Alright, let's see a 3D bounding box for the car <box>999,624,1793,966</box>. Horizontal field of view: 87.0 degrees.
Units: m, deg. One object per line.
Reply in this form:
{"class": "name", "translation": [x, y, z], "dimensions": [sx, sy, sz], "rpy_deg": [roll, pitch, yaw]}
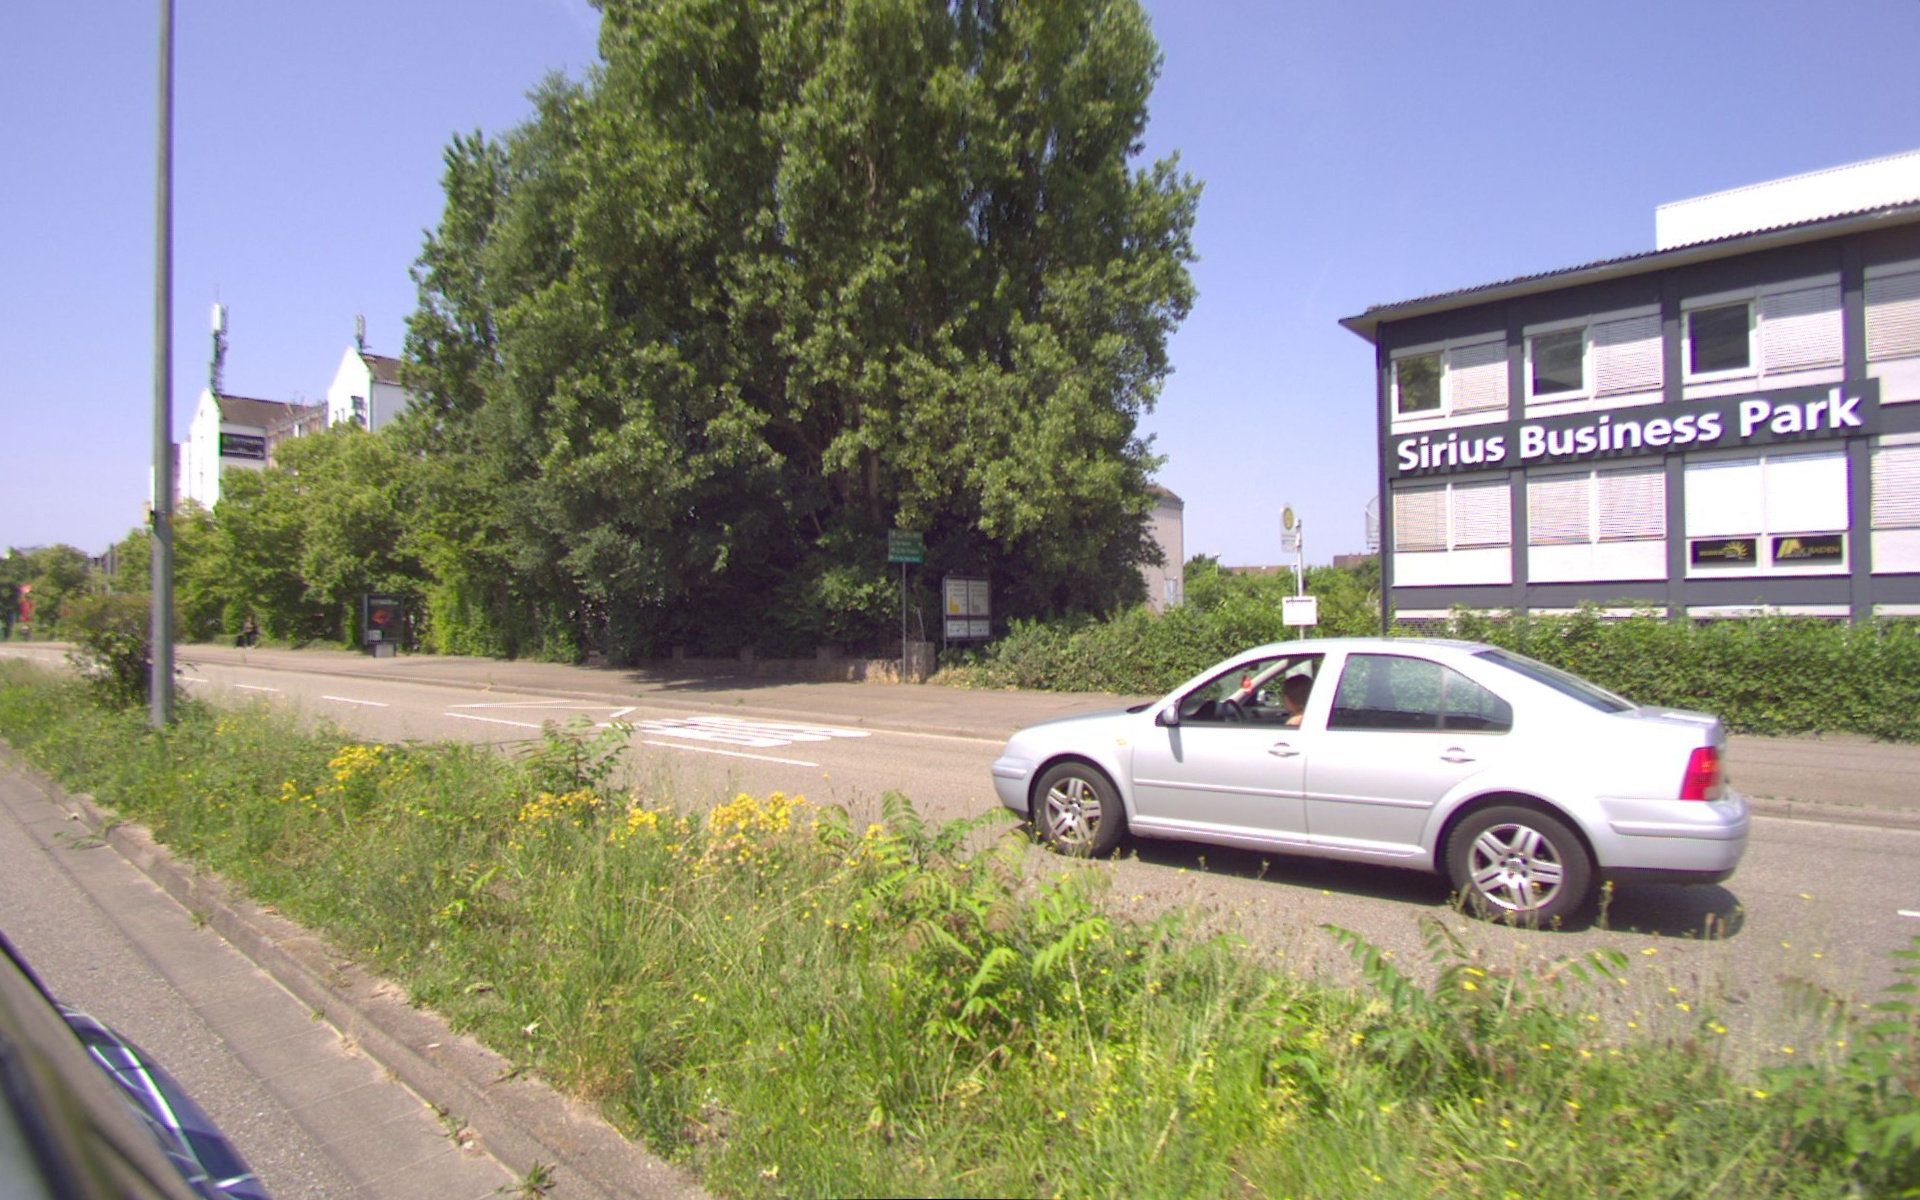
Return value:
{"class": "car", "translation": [2.415, 0.885, 6.266], "dimensions": [4.083, 1.429, 1.744], "rpy_deg": [0, -2, 36]}
